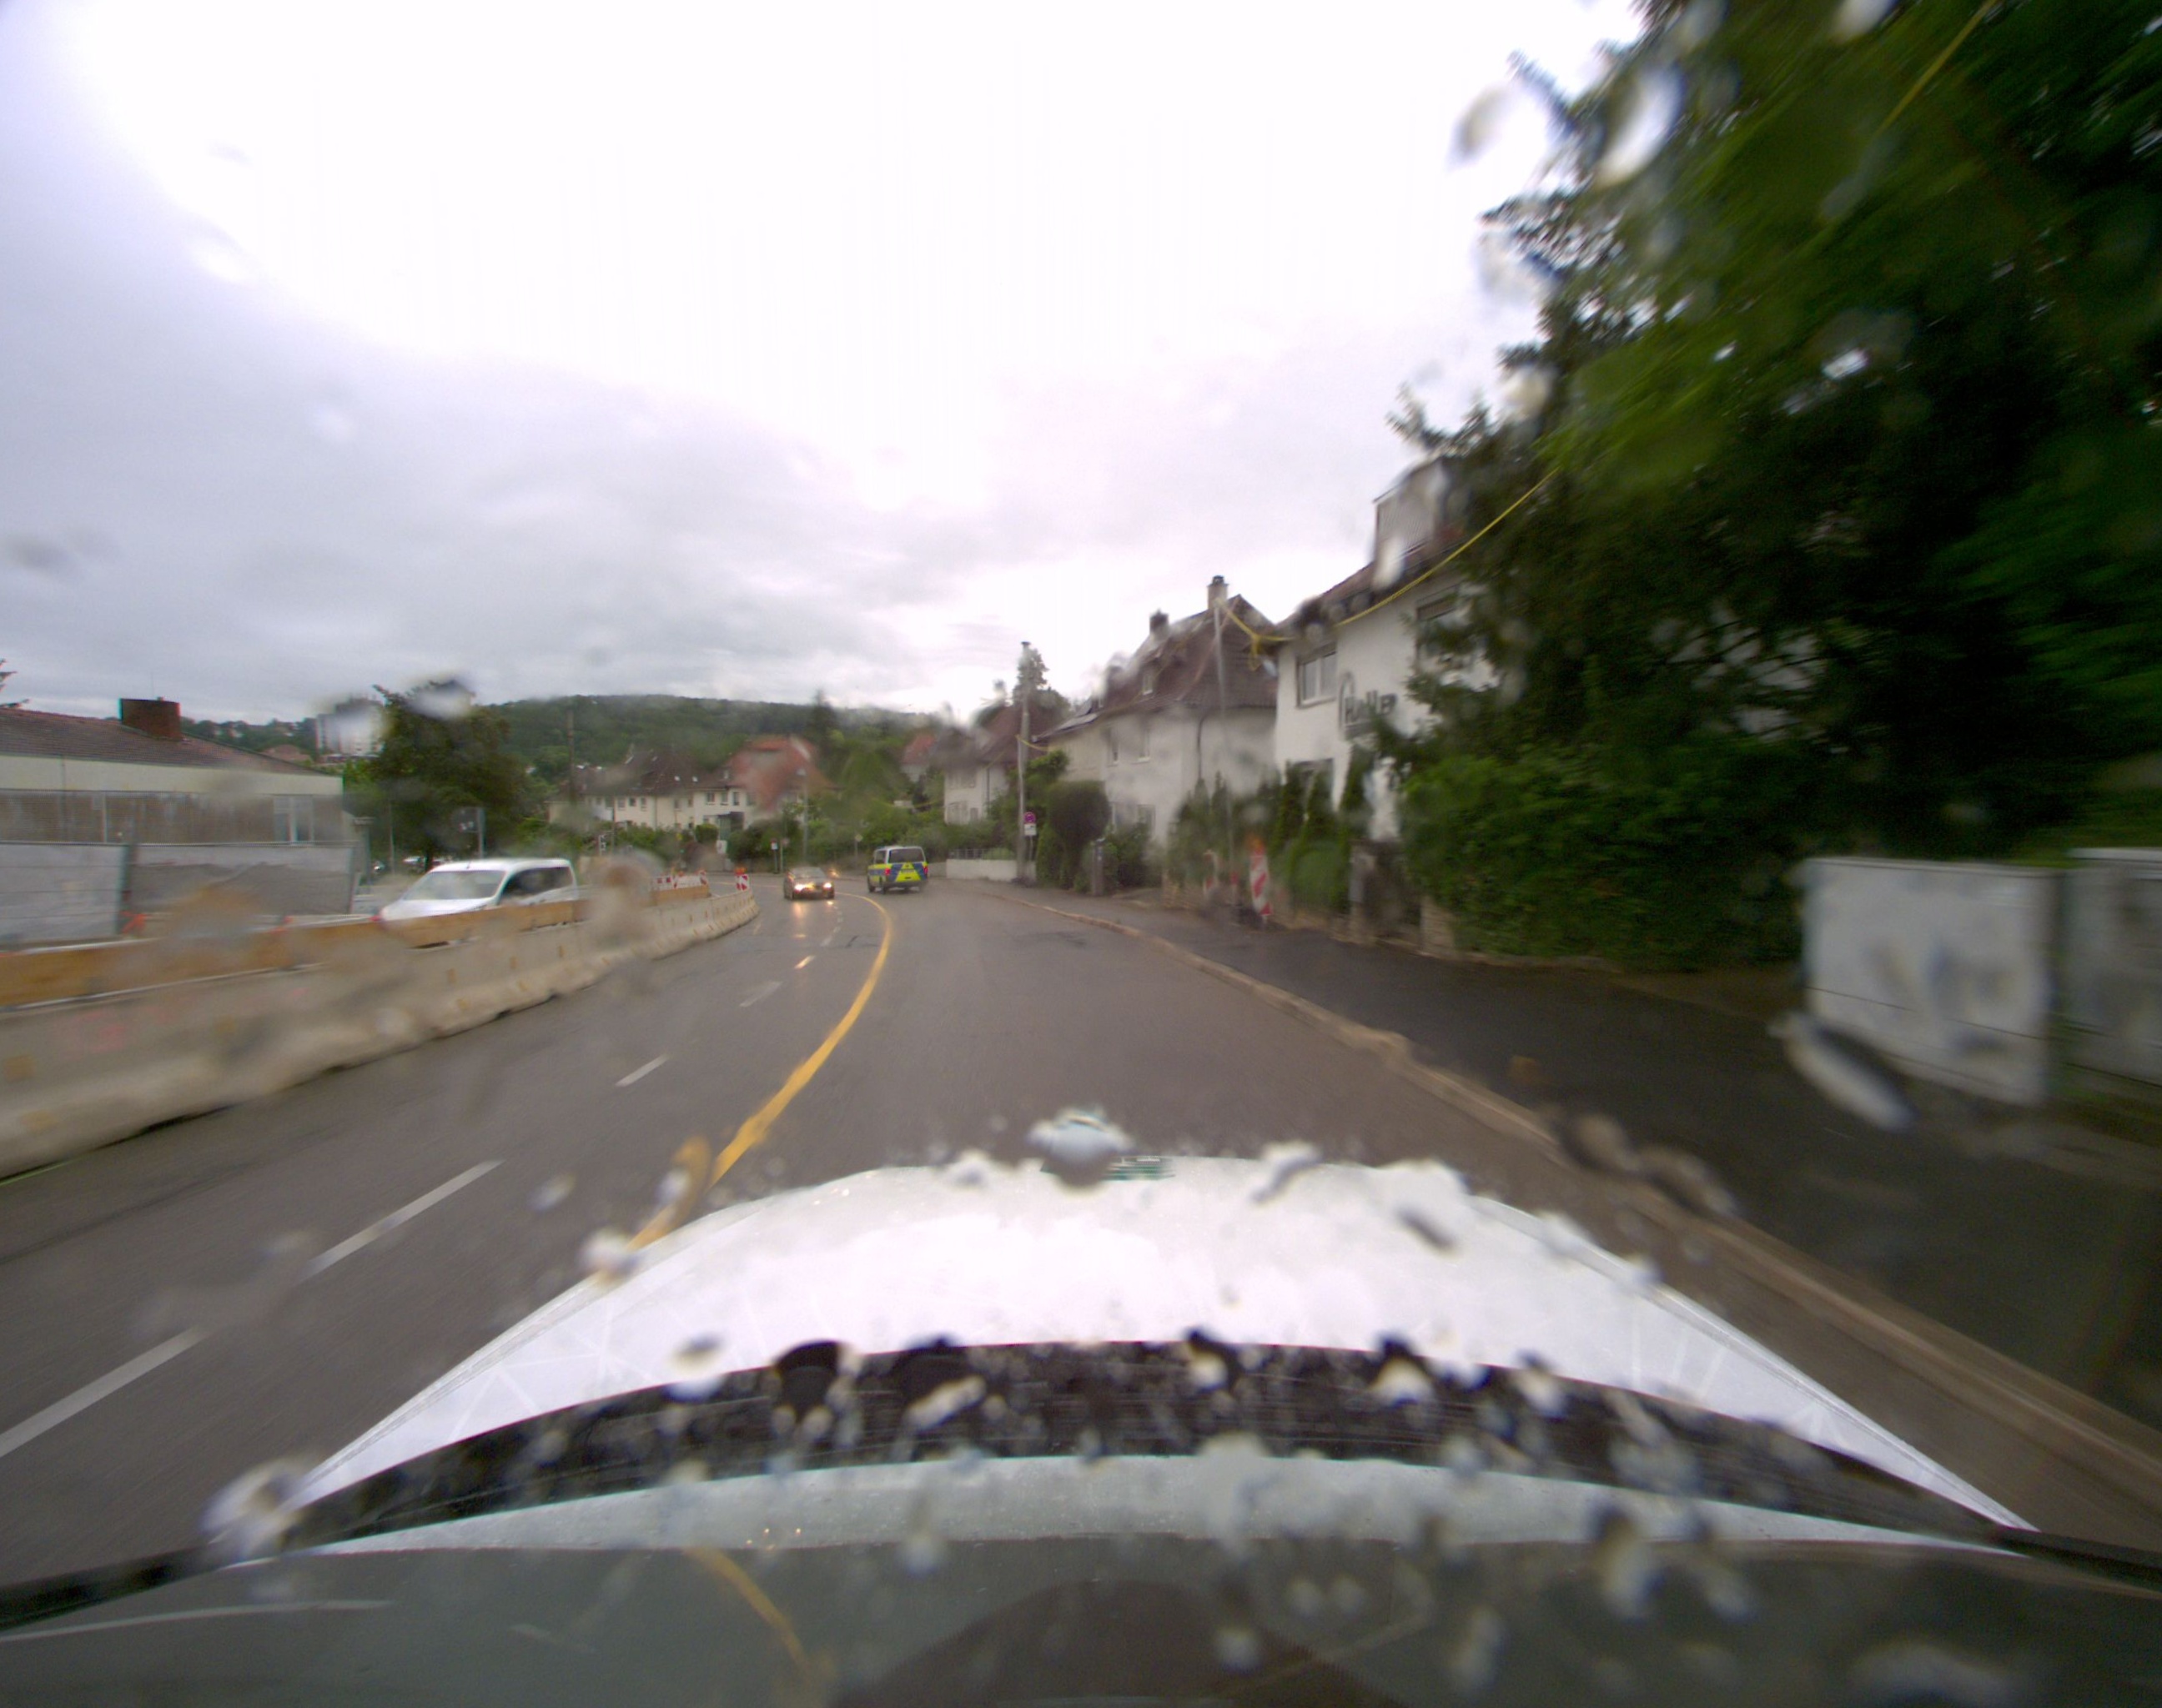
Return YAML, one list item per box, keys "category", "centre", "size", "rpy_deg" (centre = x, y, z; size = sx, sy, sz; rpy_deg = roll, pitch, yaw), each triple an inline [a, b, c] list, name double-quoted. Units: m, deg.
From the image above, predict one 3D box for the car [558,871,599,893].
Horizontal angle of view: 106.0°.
- category: "car"
  centre: [-36.884, 2.048, 59.709]
  size: [1.862, 1.464, 3.721]
  rpy_deg: [-2, 0, -43]

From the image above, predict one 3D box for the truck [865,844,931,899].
- category: "truck"
  centre: [-8.089, 0.679, 35.614]
  size: [2.002, 2.013, 4.700]
  rpy_deg: [-2, 3, -22]

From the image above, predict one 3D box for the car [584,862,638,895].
- category: "car"
  centre: [-31.122, 1.621, 53.851]
  size: [2.011, 2.013, 5.080]
  rpy_deg: [-2, 0, -42]

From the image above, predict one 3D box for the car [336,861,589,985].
- category: "car"
  centre: [-11.881, 1.193, 16.170]
  size: [1.994, 2.013, 4.790]
  rpy_deg: [1, 0, -10]

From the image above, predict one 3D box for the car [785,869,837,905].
- category: "car"
  centre: [-11.572, 1.404, 34.725]
  size: [1.655, 1.311, 4.229]
  rpy_deg: [-4, 0, -23]

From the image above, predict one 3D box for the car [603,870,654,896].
- category: "car"
  centre: [-27.436, 1.752, 49.342]
  size: [1.862, 1.464, 3.721]
  rpy_deg: [-2, 0, -43]
